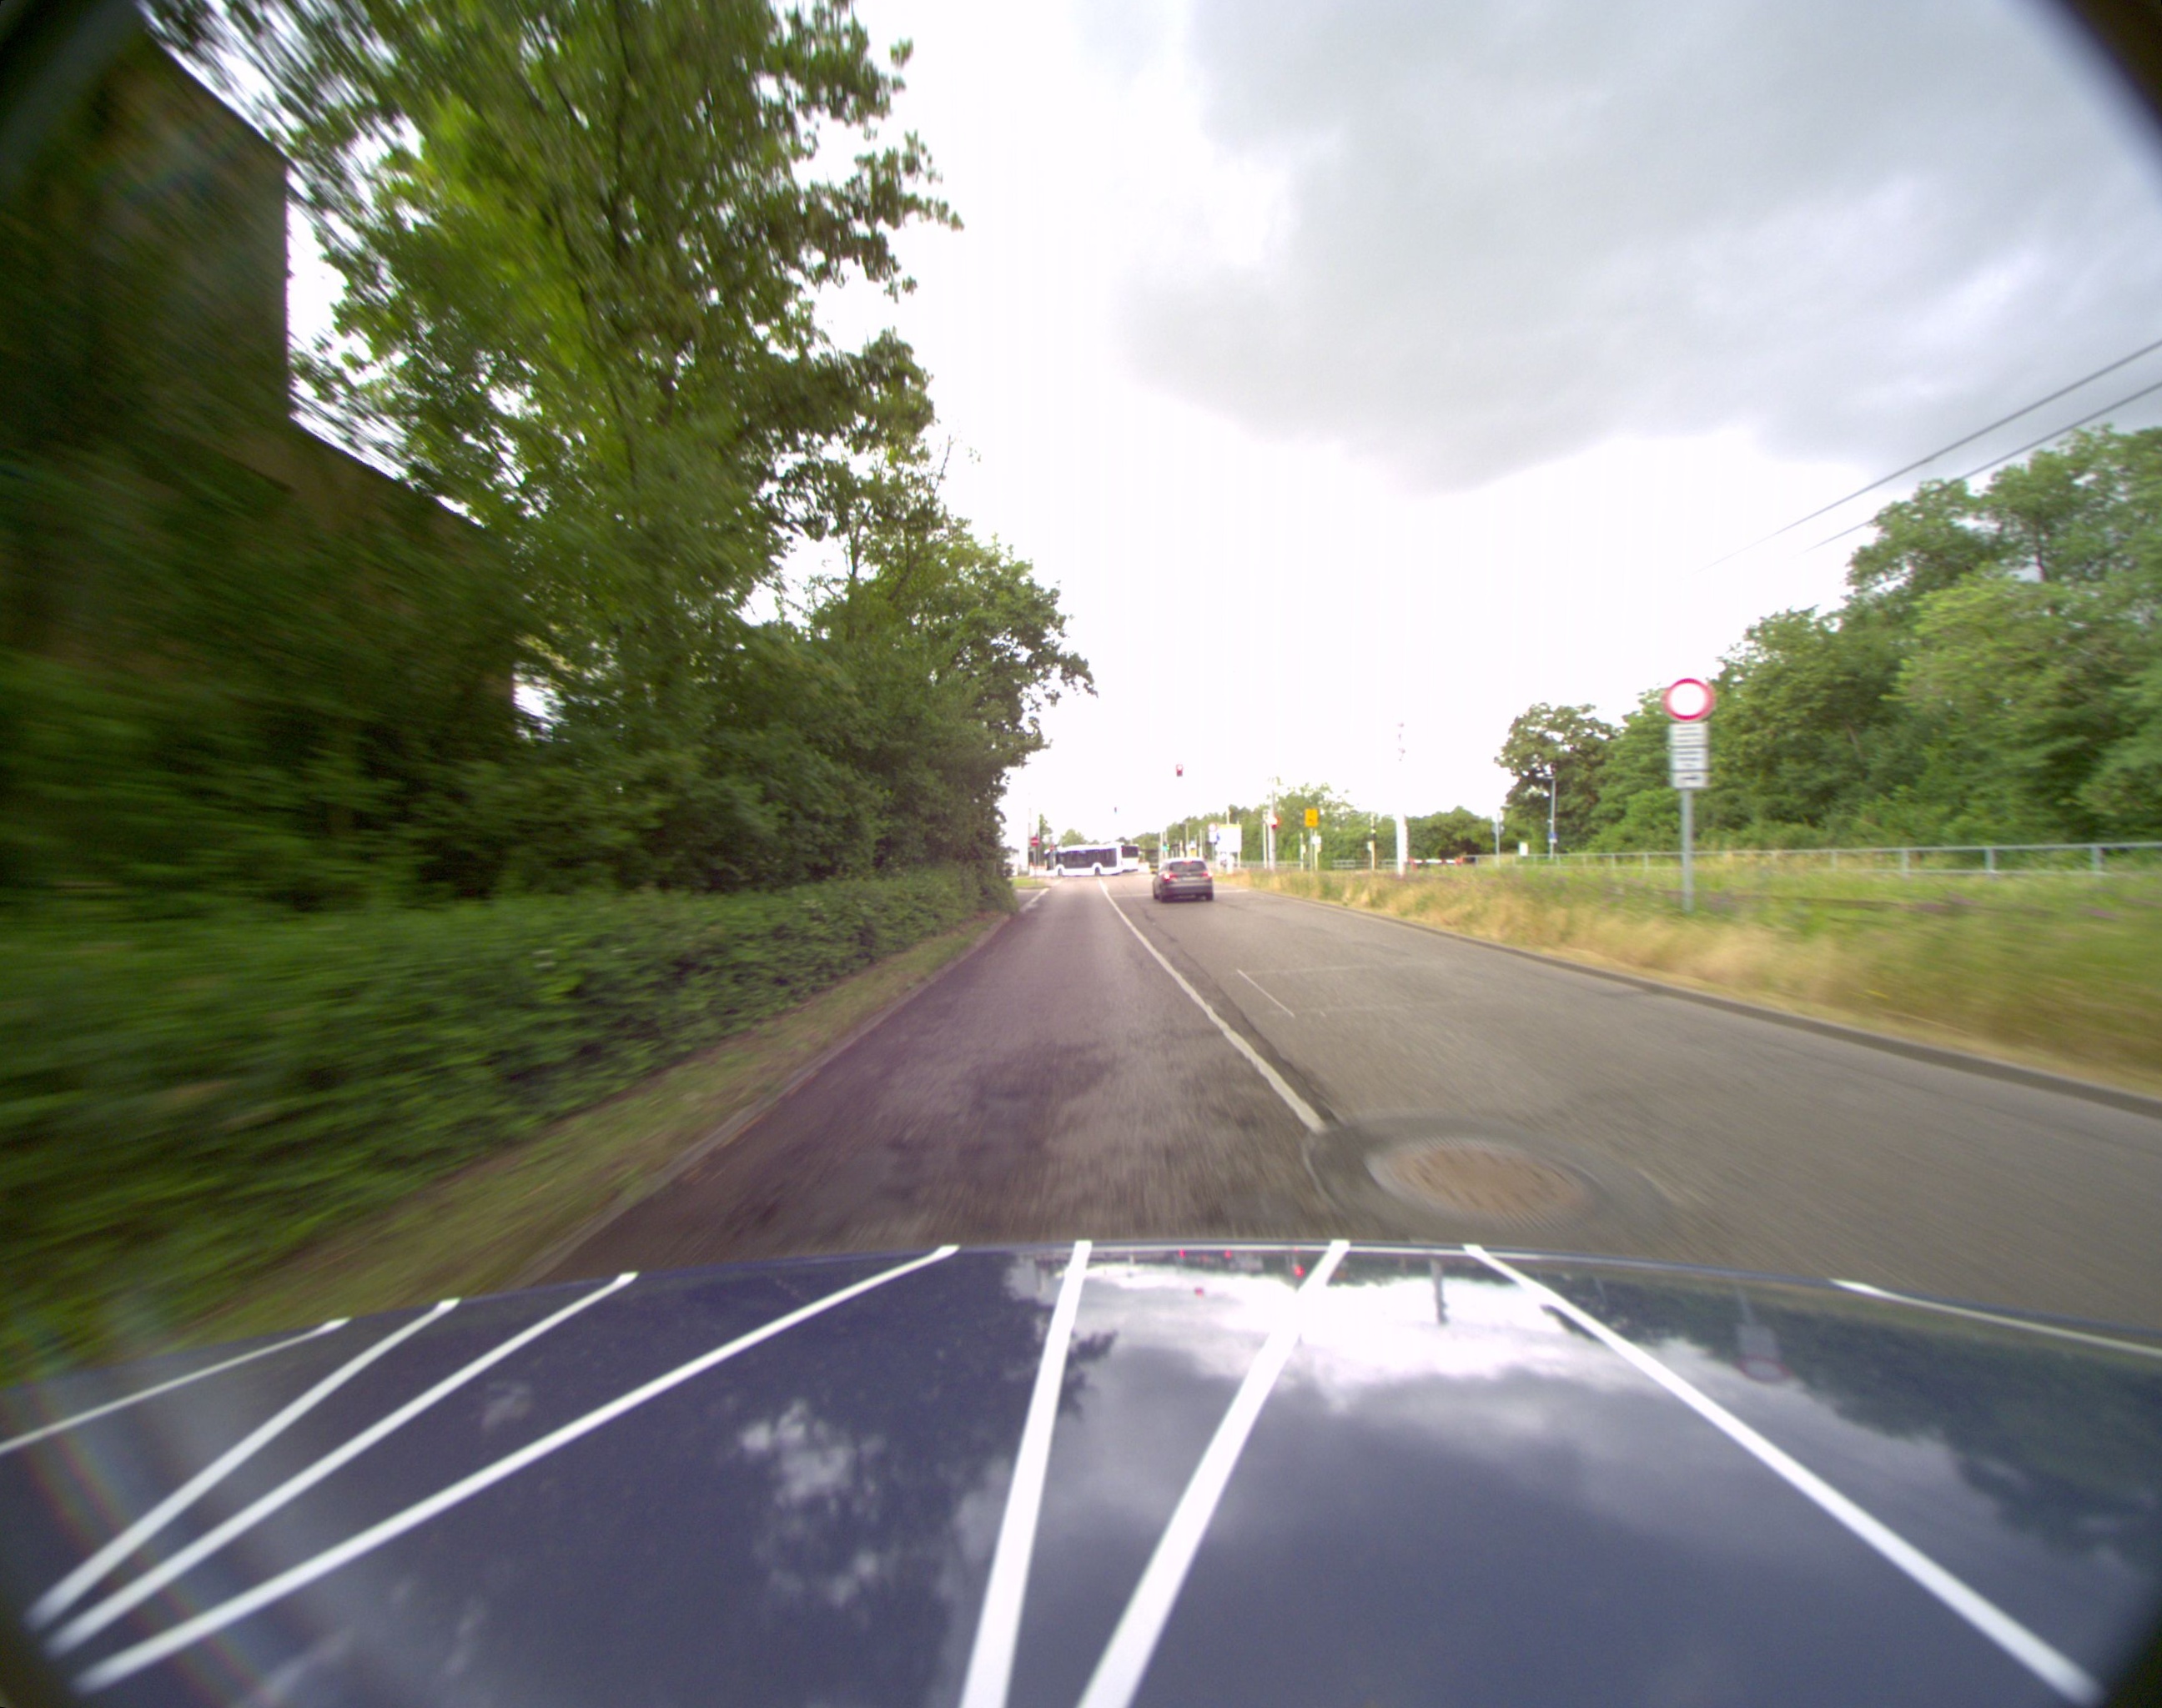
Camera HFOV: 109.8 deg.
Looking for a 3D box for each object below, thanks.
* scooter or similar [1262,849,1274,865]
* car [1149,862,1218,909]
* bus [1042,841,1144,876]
[{"bbox_3d":[15.219,0.227,61.893,0.412,1.264,1.268,-2,0,-11],"label":"scooter or similar"},{"bbox_3d":[3.529,1.045,26.866,1.760,1.426,4.428,-3,0,-1],"label":"car"},{"bbox_3d":[0.920,0.519,76.090,2.680,3.184,12.167,-2,0,-41],"label":"bus"}]
